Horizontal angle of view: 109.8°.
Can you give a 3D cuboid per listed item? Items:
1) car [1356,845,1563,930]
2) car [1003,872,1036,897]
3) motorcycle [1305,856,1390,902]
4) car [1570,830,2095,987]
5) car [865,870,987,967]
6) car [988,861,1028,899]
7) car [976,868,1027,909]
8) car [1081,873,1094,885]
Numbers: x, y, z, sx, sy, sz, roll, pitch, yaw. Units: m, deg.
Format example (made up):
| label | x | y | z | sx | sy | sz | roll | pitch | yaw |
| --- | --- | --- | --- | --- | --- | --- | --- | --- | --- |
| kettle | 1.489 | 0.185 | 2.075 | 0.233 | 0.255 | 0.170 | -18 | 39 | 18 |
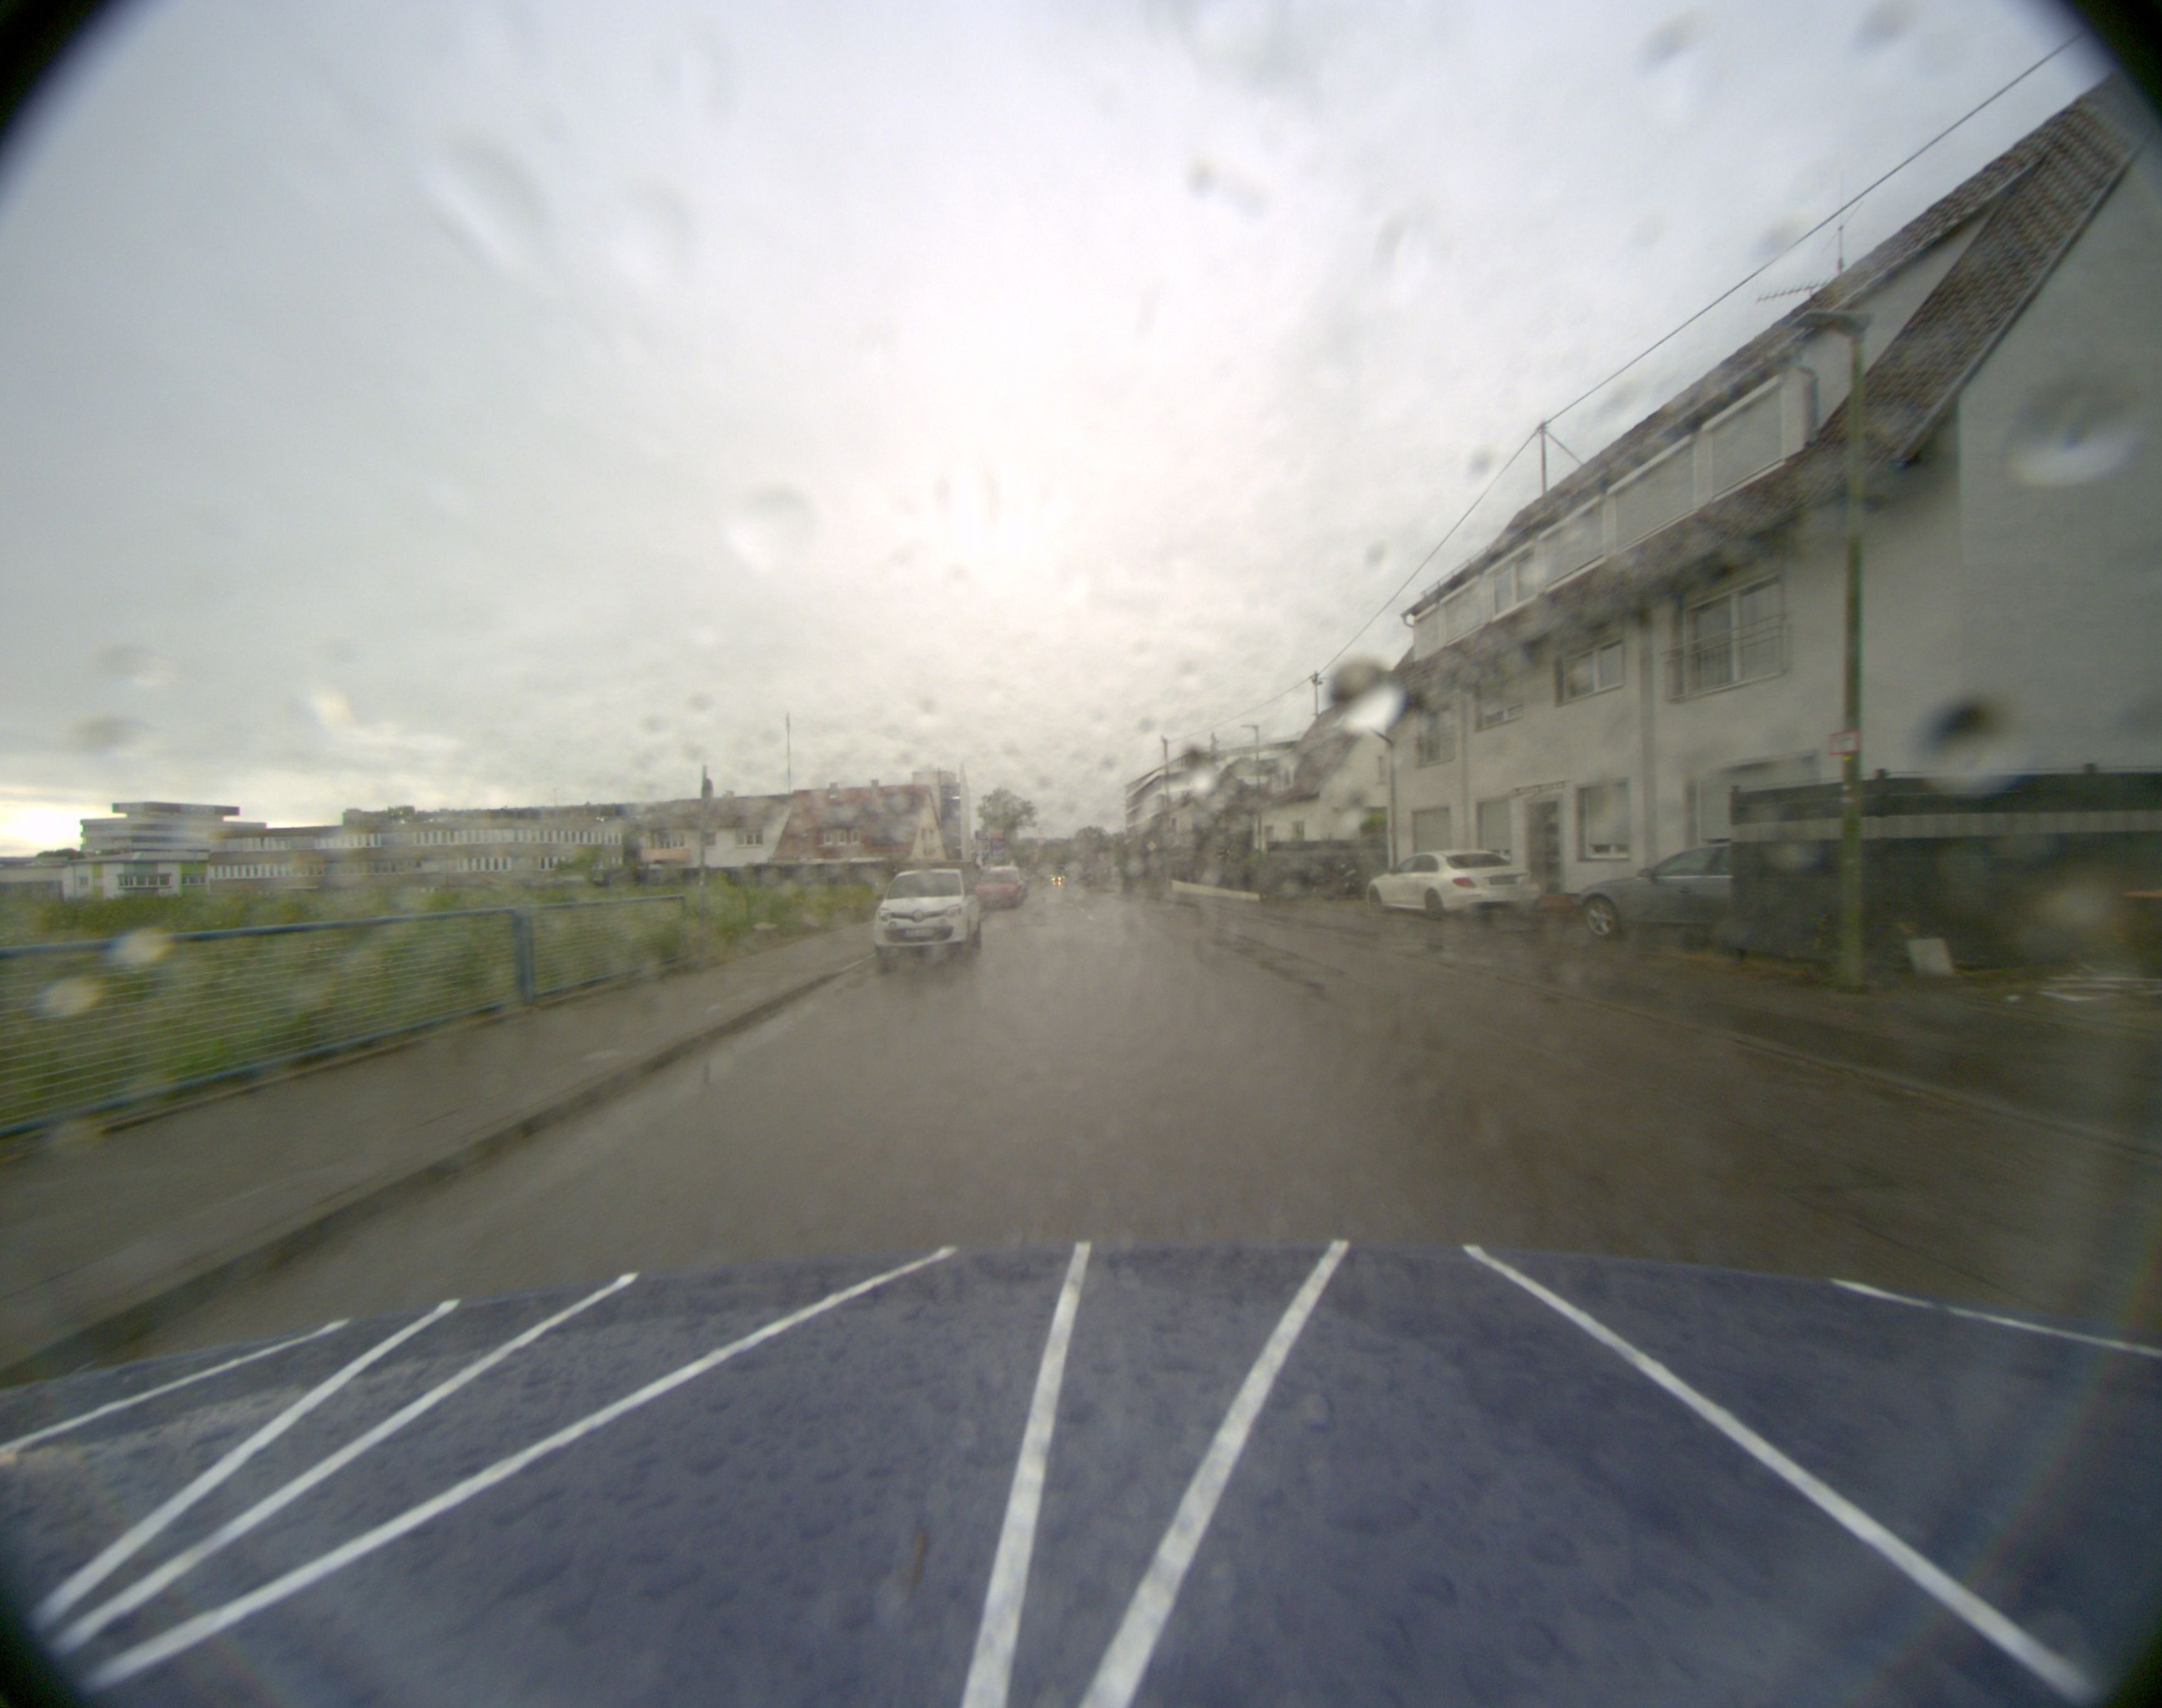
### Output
| label | x | y | z | sx | sy | sz | roll | pitch | yaw |
| --- | --- | --- | --- | --- | --- | --- | --- | --- | --- |
| car | 8.229 | 0.688 | 17.170 | 1.999 | 1.501 | 4.895 | -5 | -1 | -2 |
| car | -3.638 | 1.793 | 45.556 | 1.773 | 1.327 | 4.320 | -2 | -1 | -3 |
| motorcycle | 8.491 | 0.789 | 24.282 | 2.369 | 1.266 | 0.736 | -4 | 0 | -2 |
| car | 8.752 | 0.565 | 9.617 | 1.832 | 1.360 | 4.568 | -5 | -1 | -5 |
| car | -2.851 | 1.139 | 14.723 | 1.686 | 1.548 | 3.674 | -2 | -1 | -3 |
| car | -3.777 | 1.344 | 39.910 | 1.773 | 1.814 | 4.574 | -2 | -1 | -3 |
| car | -3.282 | 1.396 | 32.027 | 1.647 | 1.565 | 4.644 | -2 | -1 | -1 |
| car | 0.935 | 3.597 | 109.938 | 1.842 | 1.695 | 4.324 | -2 | -1 | 0 |
